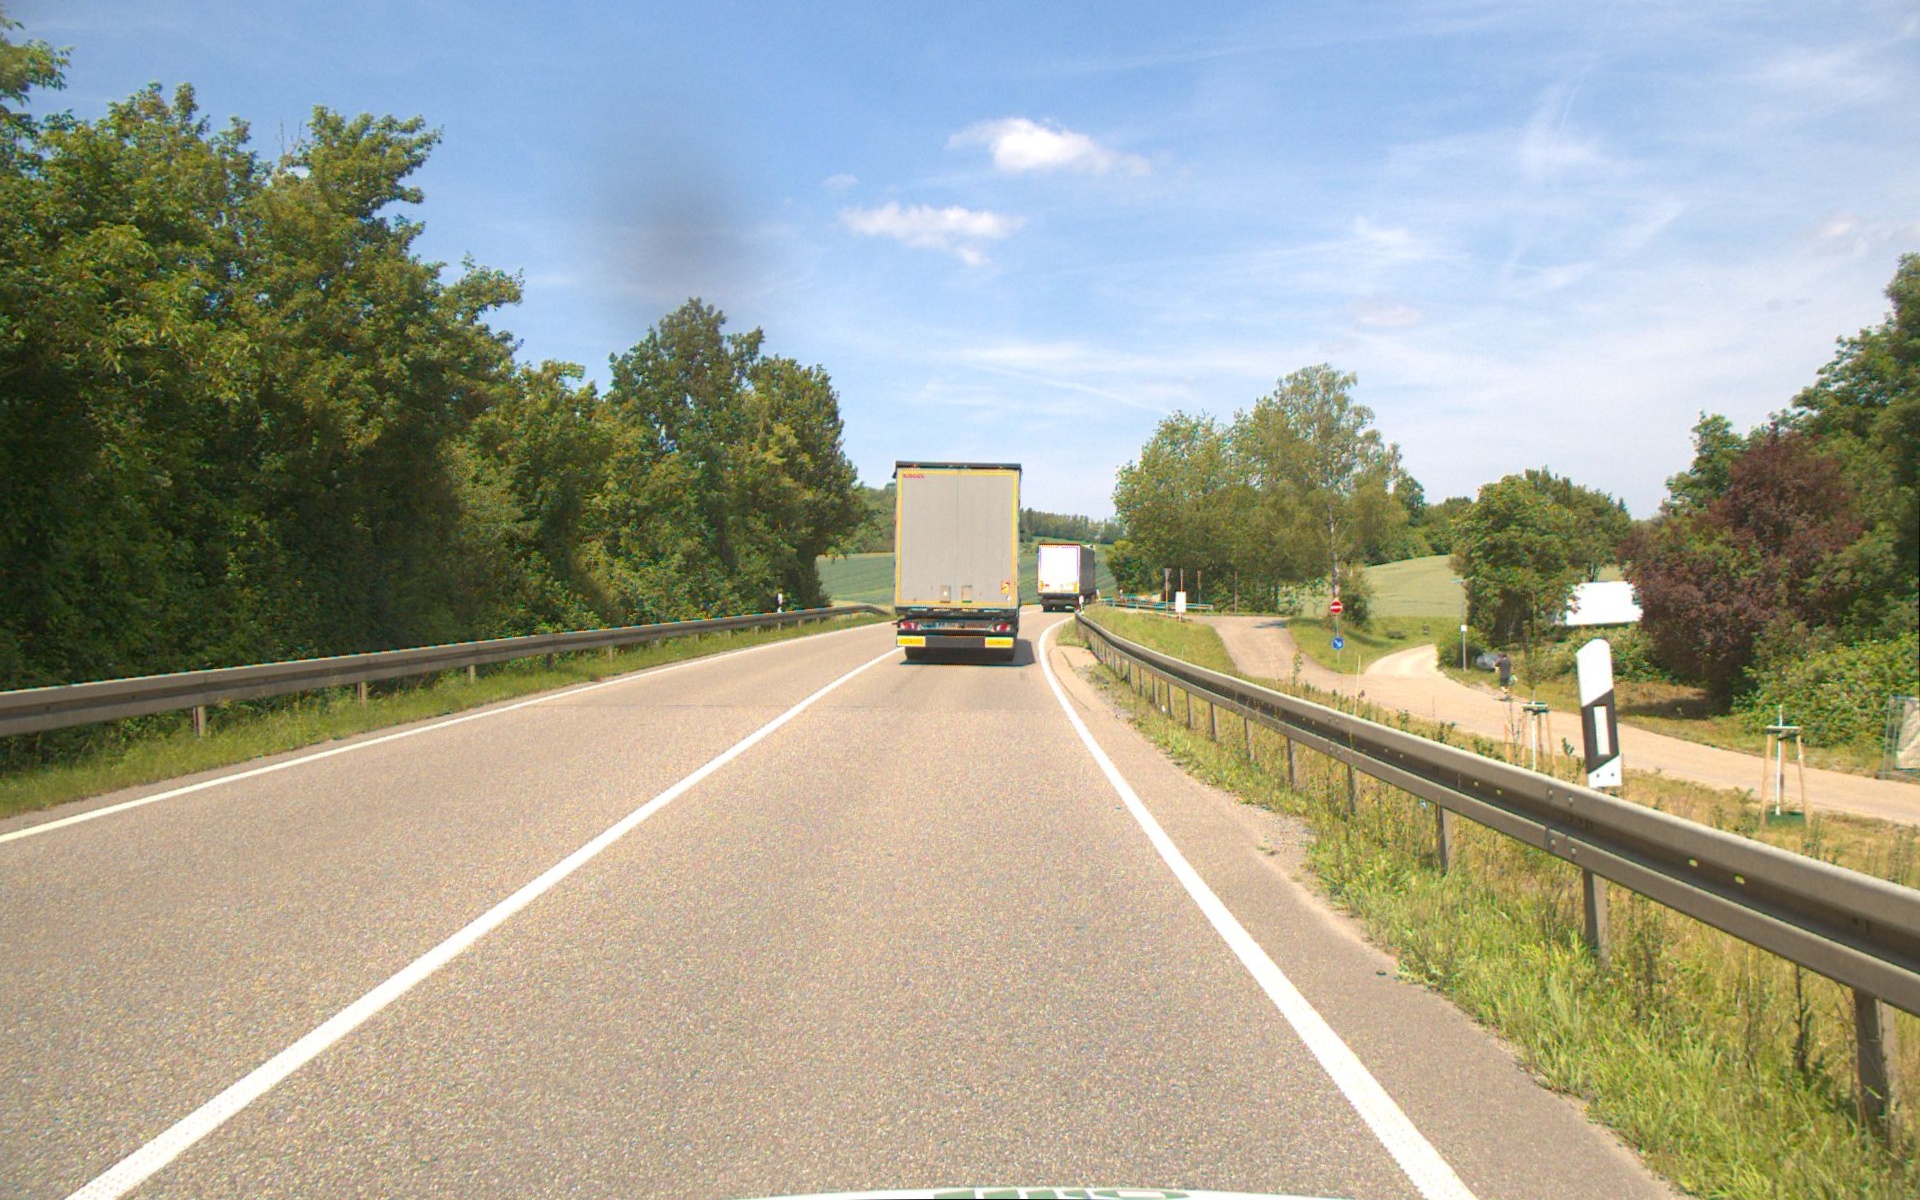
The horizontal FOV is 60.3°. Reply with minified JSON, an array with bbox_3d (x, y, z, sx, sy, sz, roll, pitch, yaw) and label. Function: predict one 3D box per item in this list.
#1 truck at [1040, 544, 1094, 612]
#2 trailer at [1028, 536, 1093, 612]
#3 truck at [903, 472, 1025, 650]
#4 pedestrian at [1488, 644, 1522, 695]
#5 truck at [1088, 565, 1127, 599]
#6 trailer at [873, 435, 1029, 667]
[{"bbox_3d":[7.252,-1.416,111.423,3.293,4.393,6.745,0,-1,7],"label":"truck"},{"bbox_3d":[6.534,-1.497,105.437,3.293,4.393,13.873,0,-1,7],"label":"trailer"},{"bbox_3d":[0.233,-1.032,45.970,3.053,4.573,6.813,0,0,3],"label":"truck"},{"bbox_3d":[20.661,2.640,62.709,0.867,1.842,0.959,-3,0,0],"label":"pedestrian"},{"bbox_3d":[16.103,-1.885,179.598,3.154,3.424,11.884,0,-1,10],"label":"truck"},{"bbox_3d":[0.011,-1.002,39.555,3.053,4.578,13.889,0,0,2],"label":"trailer"}]
